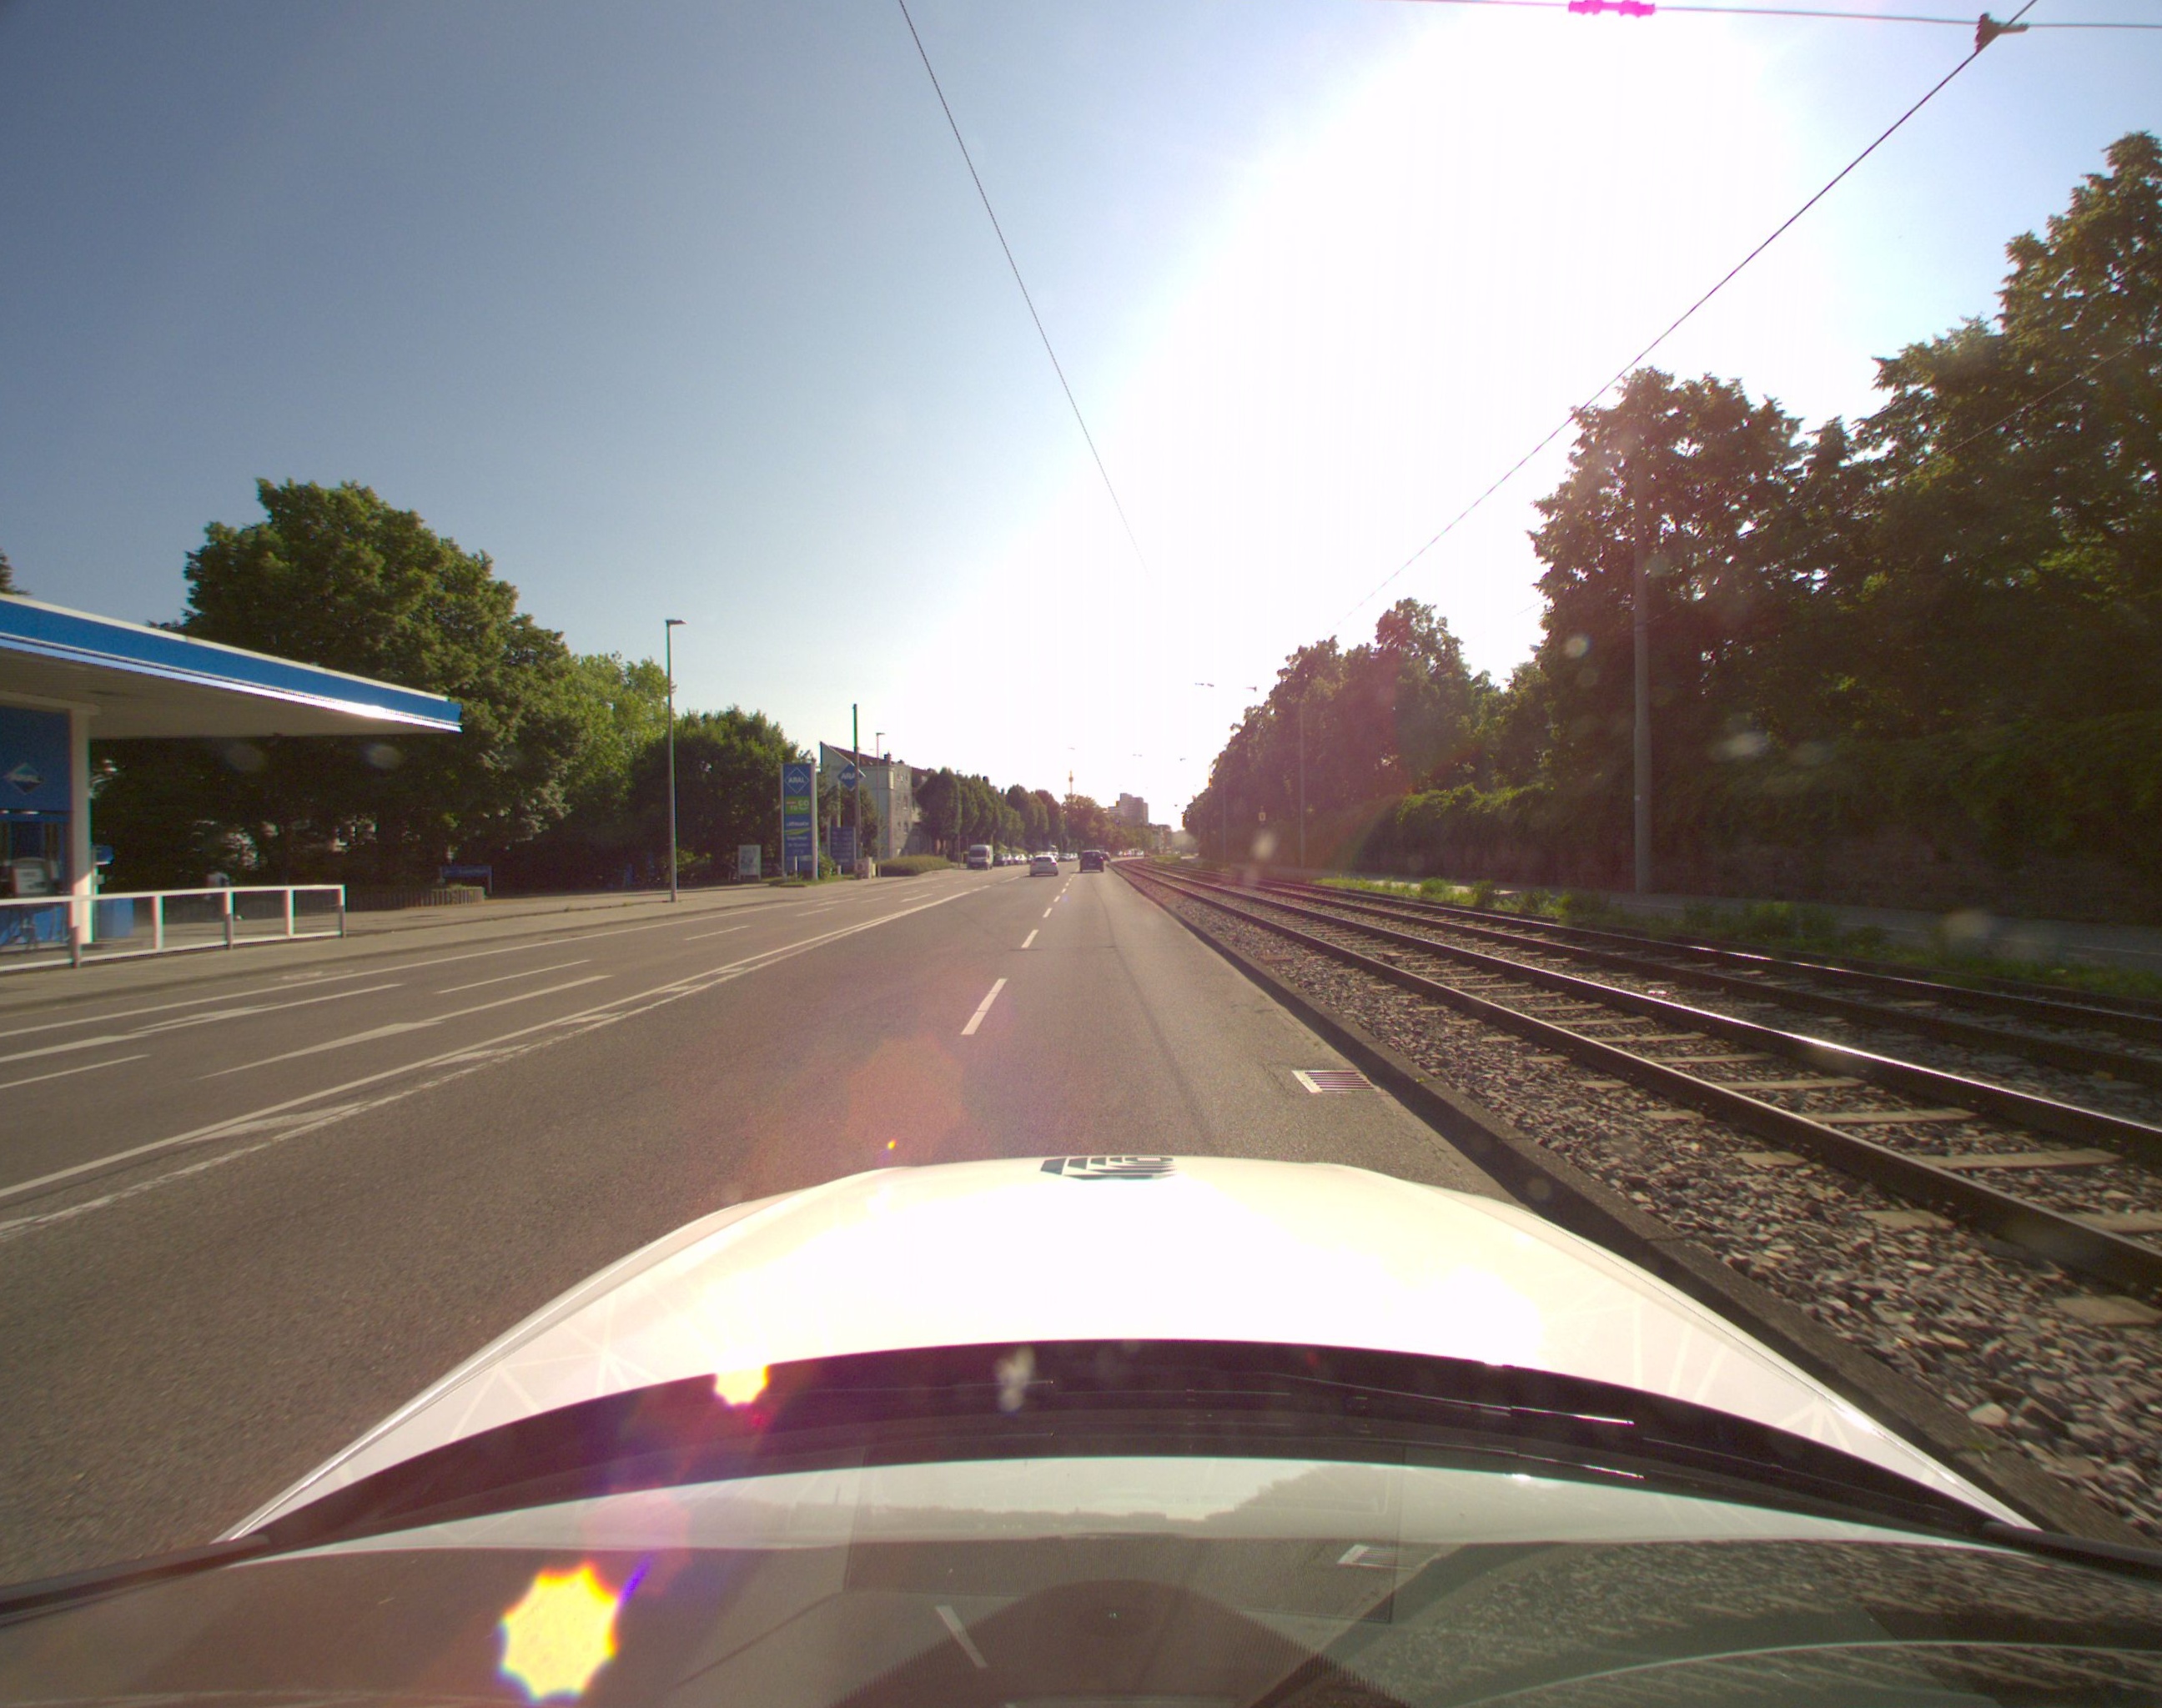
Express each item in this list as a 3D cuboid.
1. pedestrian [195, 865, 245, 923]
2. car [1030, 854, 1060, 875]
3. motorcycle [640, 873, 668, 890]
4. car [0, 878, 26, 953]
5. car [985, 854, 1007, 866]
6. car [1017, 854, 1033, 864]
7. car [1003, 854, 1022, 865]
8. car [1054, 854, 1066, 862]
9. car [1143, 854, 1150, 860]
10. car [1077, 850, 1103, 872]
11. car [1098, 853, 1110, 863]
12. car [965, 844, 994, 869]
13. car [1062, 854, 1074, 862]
[{"bbox_3d":[-26.643,1.211,25.224,0.662,1.728,0.846,-1,0,-12],"label":"pedestrian"},{"bbox_3d":[-2.349,0.667,53.484,1.775,1.356,3.601,1,0,0],"label":"car"},{"bbox_3d":[-24.499,1.545,46.731,0.668,0.901,1.671,-2,0,1],"label":"motorcycle"},{"bbox_3d":[-21.241,1.190,13.647,1.738,1.393,4.120,-2,0,0],"label":"car"},{"bbox_3d":[-10.215,0.701,97.769,1.985,1.416,3.846,-2,0,3],"label":"car"},{"bbox_3d":[-8.263,0.764,120.455,1.985,1.416,3.846,-2,0,3],"label":"car"},{"bbox_3d":[-9.256,0.740,109.650,1.985,1.416,3.846,-2,0,3],"label":"car"},{"bbox_3d":[-3.986,0.693,153.437,1.985,1.416,3.846,-2,0,3],"label":"car"},{"bbox_3d":[16.670,0.774,206.562,1.715,1.593,3.608,1,0,6],"label":"car"},{"bbox_3d":[0.637,0.500,61.161,1.720,1.593,3.596,1,0,-4],"label":"car"},{"bbox_3d":[3.465,0.591,123.675,1.717,1.593,3.604,1,0,3],"label":"car"},{"bbox_3d":[-10.228,0.243,82.311,1.985,2.376,4.543,-2,0,4],"label":"car"},{"bbox_3d":[-2.533,0.806,158.142,1.985,1.416,3.846,-2,0,3],"label":"car"}]
